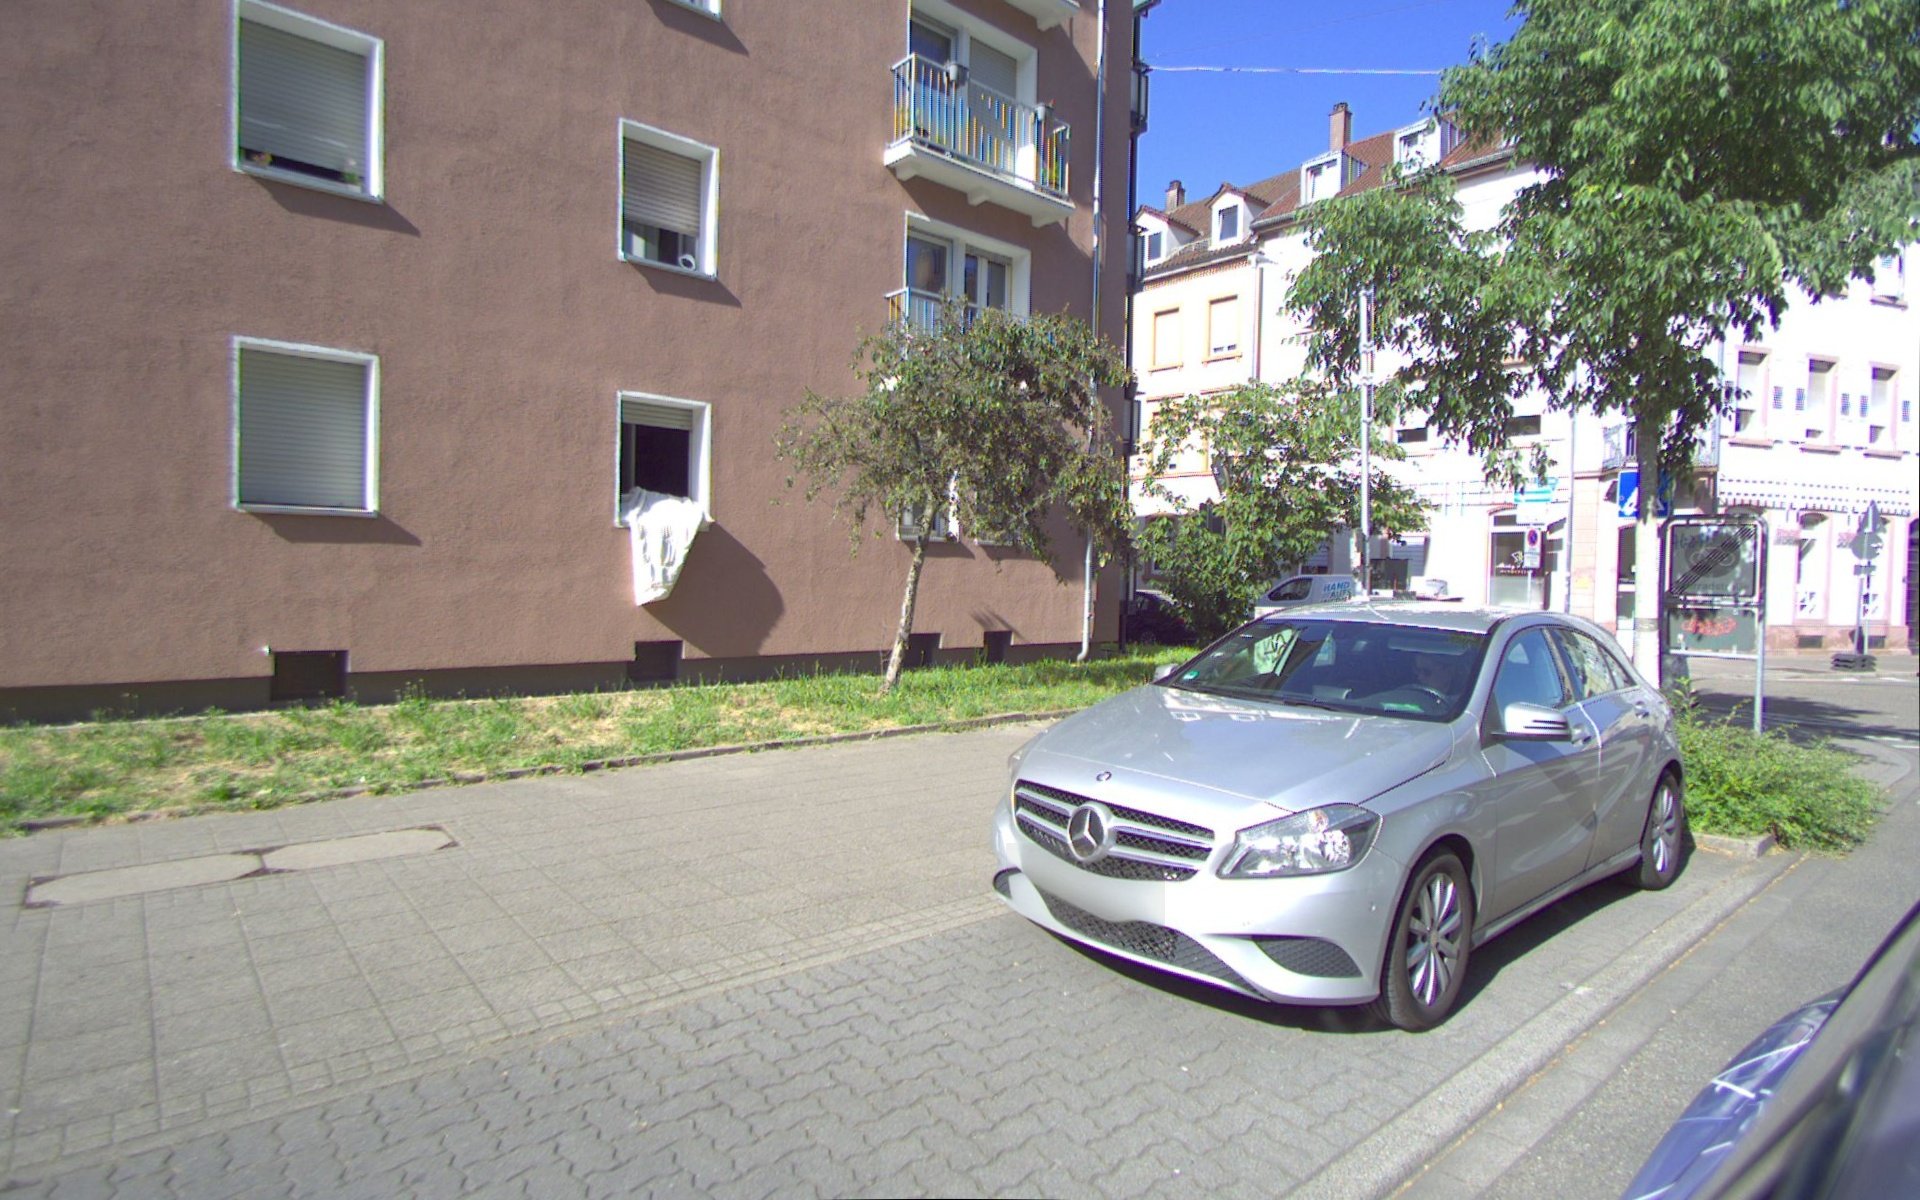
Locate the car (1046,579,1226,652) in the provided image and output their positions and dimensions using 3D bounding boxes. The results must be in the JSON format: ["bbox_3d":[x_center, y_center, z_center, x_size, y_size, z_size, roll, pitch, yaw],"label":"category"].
[{"bbox_3d":[4.021,0.292,23.650,1.629,1.519,4.076,0,1,-39],"label":"car"}]

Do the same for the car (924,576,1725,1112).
[{"bbox_3d":[1.976,0.654,4.792,4.081,1.472,1.744,0,2,-40],"label":"car"}]

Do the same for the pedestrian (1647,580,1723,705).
[{"bbox_3d":[9.911,0.548,13.833,0.733,1.634,0.804,1,1,43],"label":"pedestrian"}]

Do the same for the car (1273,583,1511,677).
[{"bbox_3d":[8.028,0.473,19.048,1.661,1.519,3.801,-2,2,-41],"label":"car"}]

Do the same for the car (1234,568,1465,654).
[{"bbox_3d":[9.513,0.222,25.093,1.868,1.883,5.005,3,-1,-42],"label":"car"}]
